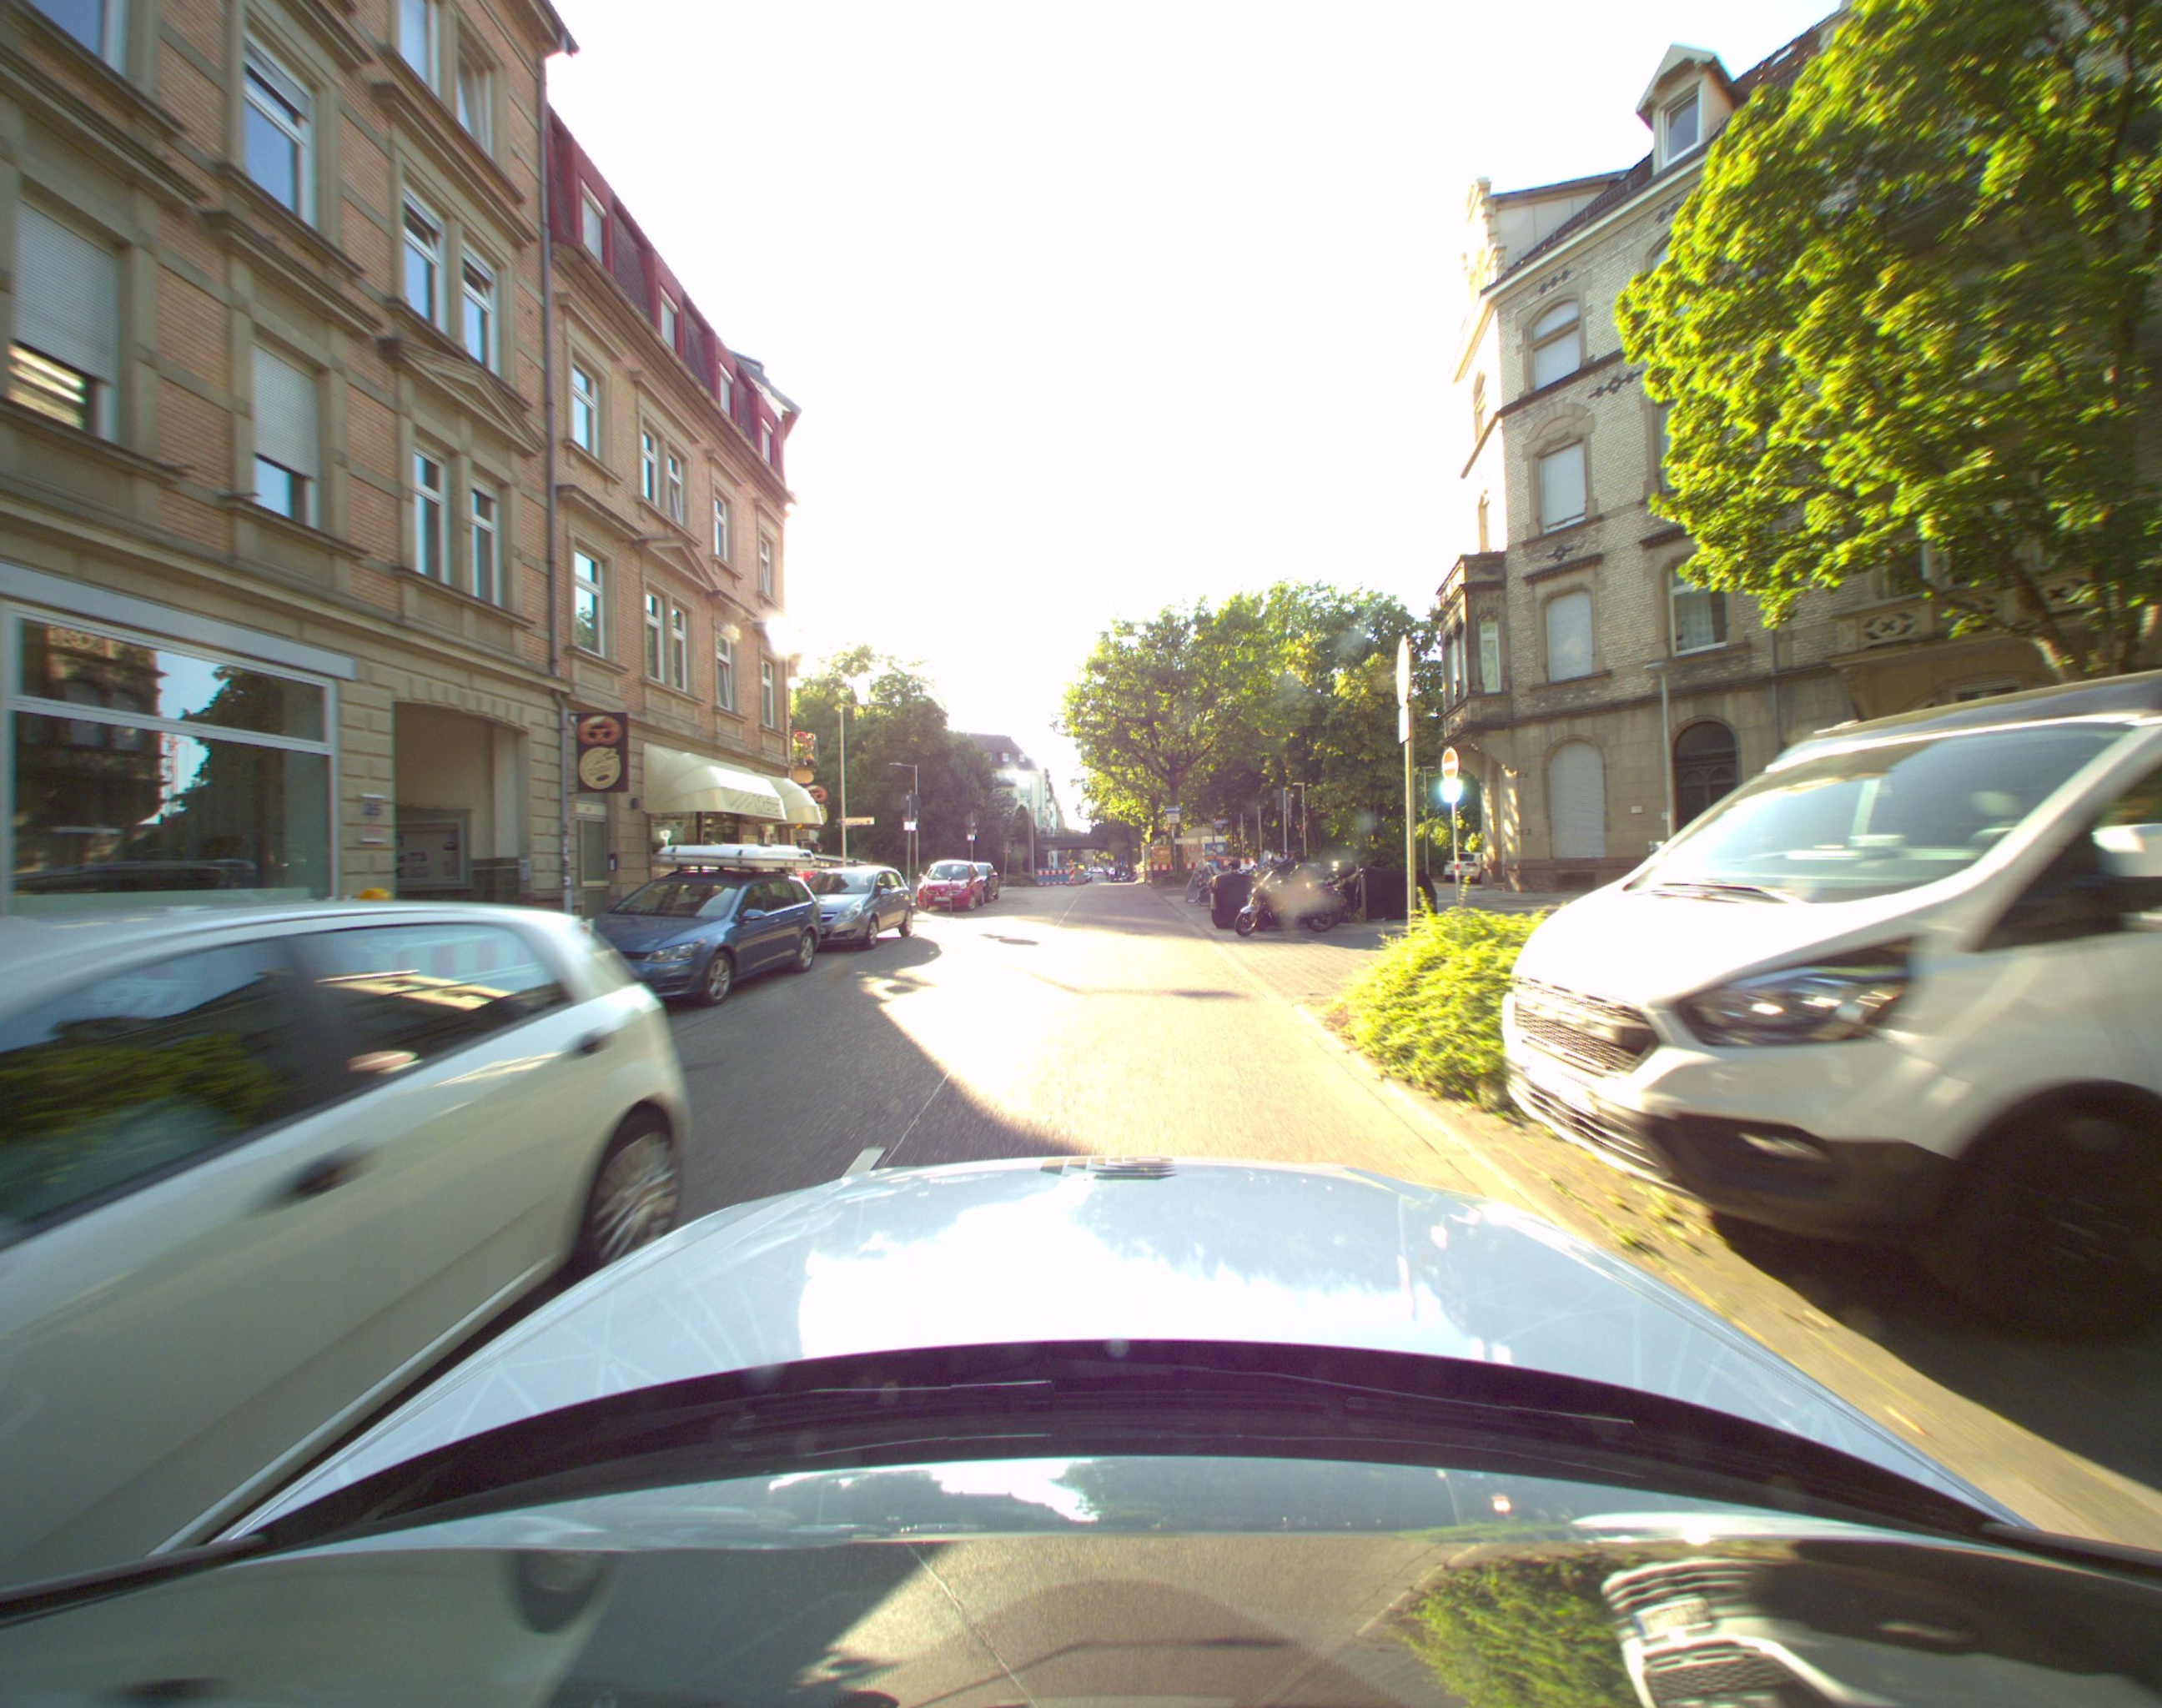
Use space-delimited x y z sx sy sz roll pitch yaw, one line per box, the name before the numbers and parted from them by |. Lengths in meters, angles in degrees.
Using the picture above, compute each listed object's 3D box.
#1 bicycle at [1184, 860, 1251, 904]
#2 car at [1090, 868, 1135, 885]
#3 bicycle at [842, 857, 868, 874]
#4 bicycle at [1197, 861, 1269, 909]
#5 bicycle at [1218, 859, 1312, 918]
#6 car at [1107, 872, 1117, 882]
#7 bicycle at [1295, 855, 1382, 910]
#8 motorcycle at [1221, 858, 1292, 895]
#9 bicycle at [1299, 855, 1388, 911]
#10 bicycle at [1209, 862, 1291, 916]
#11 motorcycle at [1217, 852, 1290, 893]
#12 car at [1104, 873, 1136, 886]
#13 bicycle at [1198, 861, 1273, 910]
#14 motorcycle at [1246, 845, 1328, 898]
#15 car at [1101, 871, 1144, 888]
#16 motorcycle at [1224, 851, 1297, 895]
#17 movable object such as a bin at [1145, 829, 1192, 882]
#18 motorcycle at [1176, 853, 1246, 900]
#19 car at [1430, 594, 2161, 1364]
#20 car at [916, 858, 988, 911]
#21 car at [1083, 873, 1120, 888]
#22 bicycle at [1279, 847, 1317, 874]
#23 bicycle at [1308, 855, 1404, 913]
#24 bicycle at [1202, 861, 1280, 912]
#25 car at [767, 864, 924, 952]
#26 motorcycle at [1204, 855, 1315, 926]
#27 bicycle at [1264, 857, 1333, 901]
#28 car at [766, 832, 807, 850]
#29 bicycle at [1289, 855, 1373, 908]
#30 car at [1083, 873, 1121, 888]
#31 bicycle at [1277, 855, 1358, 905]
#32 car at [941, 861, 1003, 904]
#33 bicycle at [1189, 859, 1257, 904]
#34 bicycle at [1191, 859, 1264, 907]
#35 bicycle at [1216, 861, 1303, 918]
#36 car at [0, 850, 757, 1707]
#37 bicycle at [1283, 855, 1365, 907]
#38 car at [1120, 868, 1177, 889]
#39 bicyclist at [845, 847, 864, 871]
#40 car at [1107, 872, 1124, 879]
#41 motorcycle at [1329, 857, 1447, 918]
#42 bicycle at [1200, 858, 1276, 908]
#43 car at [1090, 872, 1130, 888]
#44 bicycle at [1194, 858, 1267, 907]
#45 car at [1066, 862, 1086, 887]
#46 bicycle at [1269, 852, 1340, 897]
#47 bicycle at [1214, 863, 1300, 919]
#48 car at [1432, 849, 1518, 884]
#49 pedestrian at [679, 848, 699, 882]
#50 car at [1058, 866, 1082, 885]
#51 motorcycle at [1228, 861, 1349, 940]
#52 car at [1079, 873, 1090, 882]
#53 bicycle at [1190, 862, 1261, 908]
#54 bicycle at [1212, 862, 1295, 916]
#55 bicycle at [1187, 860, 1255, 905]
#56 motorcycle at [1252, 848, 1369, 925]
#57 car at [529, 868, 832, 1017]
bicycle | 4.053 0.827 24.245 1.920 1.246 0.302 -1 0 -5
car | 3.132 2.254 81.291 4.374 1.702 1.915 0 -4 -1
bicycle | -13.189 0.689 47.512 0.809 0.968 2.086 0 -1 -34
bicycle | 4.202 0.853 22.525 1.920 1.246 0.302 -1 0 -5
bicycle | 4.104 0.761 18.189 1.920 1.246 0.647 -1 0 -4
car | 5.694 4.209 148.935 1.768 1.609 4.403 -2 -1 2
bicycle | 6.150 0.663 19.505 1.920 1.246 0.479 -1 0 -5
motorcycle | 5.937 0.747 27.516 2.266 1.180 0.975 -2 -1 14
bicycle | 6.097 0.665 18.960 1.920 1.246 0.479 -1 0 -5
bicycle | 4.144 0.846 19.974 1.920 1.246 0.302 -1 0 -5
motorcycle | 6.113 0.653 28.934 2.363 1.341 0.938 -1 -1 -8
car | 5.317 3.526 111.596 4.374 1.785 1.915 0 -4 -1
bicycle | 4.097 0.829 21.605 1.920 1.246 0.302 -1 0 -5
motorcycle | 6.278 0.518 24.839 2.278 1.531 0.755 -1 -1 -5
car | 4.382 2.668 86.203 4.374 1.702 1.915 0 -4 -1
motorcycle | 5.821 0.614 26.426 2.267 1.341 0.658 -2 -1 13
movable object such as a bin | 4.730 0.090 43.638 1.979 2.699 3.123 -2 -1 15
motorcycle | 4.051 0.690 25.391 1.913 1.412 0.947 -2 -1 29
car | 4.347 0.284 3.270 4.955 2.096 2.106 -2 0 1
car | -4.059 0.917 26.198 1.664 1.530 3.999 -1 0 0
car | 2.385 3.158 96.272 4.374 1.702 1.915 0 -4 -1
bicycle | 11.168 0.330 42.062 1.024 1.285 2.139 -3 0 -10
bicycle | 6.189 0.662 18.362 1.920 1.246 0.647 -1 0 -4
bicycle | 4.115 0.834 20.929 1.920 1.246 0.302 -1 0 -5
car | -4.398 0.946 15.866 1.718 1.437 3.998 0 0 2
motorcycle | 3.637 0.730 16.744 2.016 1.285 0.904 -4 0 0
bicycle | 6.458 0.736 24.201 1.920 1.246 0.452 -1 0 -5
car | -33.283 -1.438 92.072 4.384 2.014 1.921 -1 0 -21
bicycle | 6.137 0.663 20.020 1.920 1.246 0.479 -1 0 -5
car | 2.374 3.046 93.998 4.374 1.702 1.915 0 -4 -1
bicycle | 6.108 0.664 21.057 1.920 1.246 0.479 -1 0 -5
car | -4.019 1.014 30.652 1.663 1.458 4.001 -1 0 2
bicycle | 4.108 0.791 23.571 1.920 1.246 0.302 -1 0 -5
bicycle | 4.010 0.782 22.291 1.920 1.246 0.302 -1 0 -5
bicycle | 4.097 0.799 18.688 1.920 1.246 0.302 -1 0 -5
car | -2.508 0.779 1.905 1.742 1.509 4.002 -2 0 2
bicycle | 6.117 0.664 20.525 1.920 1.246 0.395 -1 0 -5
car | 5.398 1.995 65.663 4.376 1.606 1.914 0 -4 -3
bicyclist | -13.199 0.309 47.503 0.809 1.383 0.975 0 -1 -34
car | 8.984 5.616 214.285 4.371 1.610 1.781 0 -4 1
motorcycle | 6.227 0.669 16.599 2.016 1.108 0.904 -3 0 0
bicycle | 4.099 0.759 21.266 1.920 1.246 0.302 -1 0 -5
car | 3.270 2.964 91.655 4.374 1.702 1.915 0 -4 -1
bicycle | 4.035 0.761 21.958 1.902 1.246 0.302 -1 0 -5
car | -0.525 2.182 86.101 2.041 2.498 5.694 0 -3 0
bicycle | 6.490 0.577 23.693 1.920 1.246 0.479 -1 0 -5
bicycle | 4.098 0.852 18.996 1.920 1.246 0.302 -1 0 -5
car | 18.426 0.596 38.024 4.016 1.413 1.862 2 0 -35
pedestrian | -23.261 0.639 48.366 0.946 2.014 0.949 -1 -1 -32
car | -0.881 1.762 66.133 1.709 1.418 4.106 -3 -3 1
motorcycle | 3.749 0.828 14.817 2.009 1.327 0.620 -2 0 -2
car | 0.593 4.091 143.118 1.806 1.398 3.975 -3 -3 1
bicycle | 4.046 0.860 22.856 1.920 1.246 0.302 -1 0 -5
bicycle | 4.151 0.832 19.640 1.920 1.246 0.302 -1 0 -5
bicycle | 4.092 0.834 23.891 1.920 1.246 0.302 -1 0 -5
motorcycle | 4.418 0.618 15.747 2.015 1.362 0.695 -3 0 2
car | -4.839 0.958 10.653 1.759 1.437 4.301 -2 0 0
